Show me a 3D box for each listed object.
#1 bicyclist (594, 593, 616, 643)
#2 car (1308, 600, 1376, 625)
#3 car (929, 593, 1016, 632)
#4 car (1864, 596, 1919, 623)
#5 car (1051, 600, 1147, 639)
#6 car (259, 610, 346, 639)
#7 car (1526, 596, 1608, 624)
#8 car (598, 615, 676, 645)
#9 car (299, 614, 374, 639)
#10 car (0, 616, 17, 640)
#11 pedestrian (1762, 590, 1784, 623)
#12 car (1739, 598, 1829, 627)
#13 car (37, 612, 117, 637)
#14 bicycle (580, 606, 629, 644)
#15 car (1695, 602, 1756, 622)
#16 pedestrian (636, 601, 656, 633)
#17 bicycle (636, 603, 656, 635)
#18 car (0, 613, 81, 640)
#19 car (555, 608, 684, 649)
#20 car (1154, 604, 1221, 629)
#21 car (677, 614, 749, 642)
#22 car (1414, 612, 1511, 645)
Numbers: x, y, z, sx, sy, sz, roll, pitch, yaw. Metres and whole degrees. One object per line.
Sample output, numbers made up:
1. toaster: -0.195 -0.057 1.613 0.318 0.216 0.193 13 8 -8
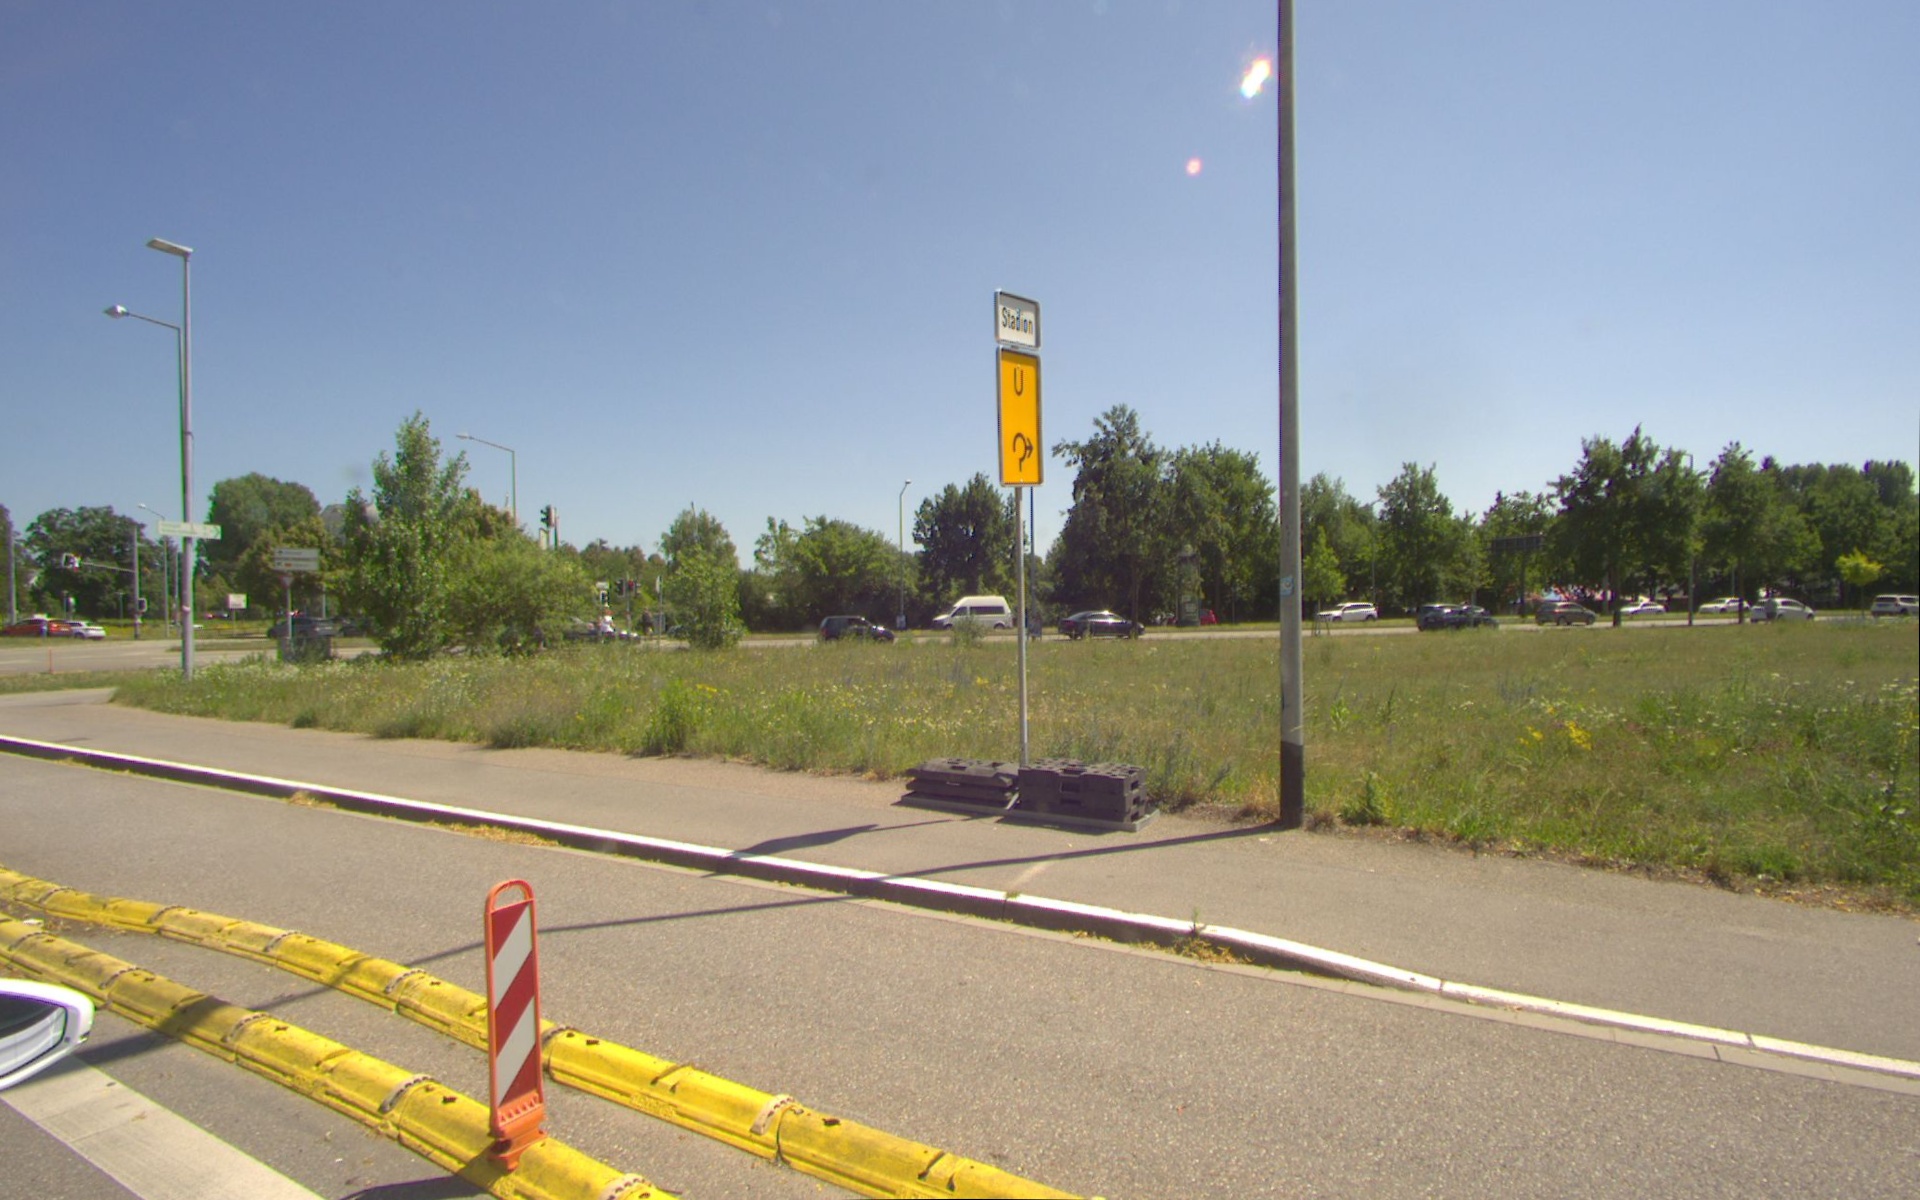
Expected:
1. bicyclist: -13.181 0.676 37.169 0.597 1.864 0.572 0 -1 2
2. car: 27.656 0.915 72.497 4.366 1.758 1.846 0 -2 -16
3. car: 0.788 0.826 64.554 5.233 2.427 1.991 0 -2 -16
4. car: 64.963 0.697 68.997 4.563 1.758 1.997 0 -2 -18
5. car: 7.243 1.038 52.307 4.564 1.961 1.996 1 -2 -19
6. car: -40.832 1.559 62.213 4.359 1.758 1.849 0 -2 7
7. car: 38.920 0.658 64.186 4.563 1.758 1.997 0 -2 -18
8. car: -19.119 1.780 59.431 4.366 1.758 1.846 0 -2 -16
9. car: -44.879 1.927 72.133 4.359 1.758 1.849 0 -2 7
10. car: -73.781 2.096 74.913 4.361 1.758 1.848 0 -2 -10
11. pedestrian: 40.326 0.342 49.666 0.548 1.611 0.662 1 -1 -32
12. car: 51.330 0.798 62.393 4.559 1.758 1.999 0 -2 -13
13. car: -63.339 1.777 71.889 3.927 1.794 1.785 0 -2 -14
14. bicycle: -13.182 0.937 37.202 0.628 1.370 2.896 0 -2 4
15. car: 63.875 1.047 83.565 4.366 1.612 1.846 0 -2 -16
16. pedestrian: -16.739 0.909 53.424 0.954 1.681 0.885 0 -1 -16
17. bicycle: -16.783 1.044 53.562 0.967 1.617 2.879 0 -2 -16
18. car: -62.086 1.798 67.431 4.359 1.758 1.849 0 -2 7
19. car: -15.144 1.293 44.613 5.250 1.758 1.992 1 -2 -27
20. car: 16.464 1.245 72.395 4.366 1.758 1.846 0 -2 -16
21. car: -15.661 1.765 63.489 4.366 1.758 1.846 0 -2 -16
22. car: 27.478 1.549 54.790 4.559 1.758 1.999 0 -2 -13
